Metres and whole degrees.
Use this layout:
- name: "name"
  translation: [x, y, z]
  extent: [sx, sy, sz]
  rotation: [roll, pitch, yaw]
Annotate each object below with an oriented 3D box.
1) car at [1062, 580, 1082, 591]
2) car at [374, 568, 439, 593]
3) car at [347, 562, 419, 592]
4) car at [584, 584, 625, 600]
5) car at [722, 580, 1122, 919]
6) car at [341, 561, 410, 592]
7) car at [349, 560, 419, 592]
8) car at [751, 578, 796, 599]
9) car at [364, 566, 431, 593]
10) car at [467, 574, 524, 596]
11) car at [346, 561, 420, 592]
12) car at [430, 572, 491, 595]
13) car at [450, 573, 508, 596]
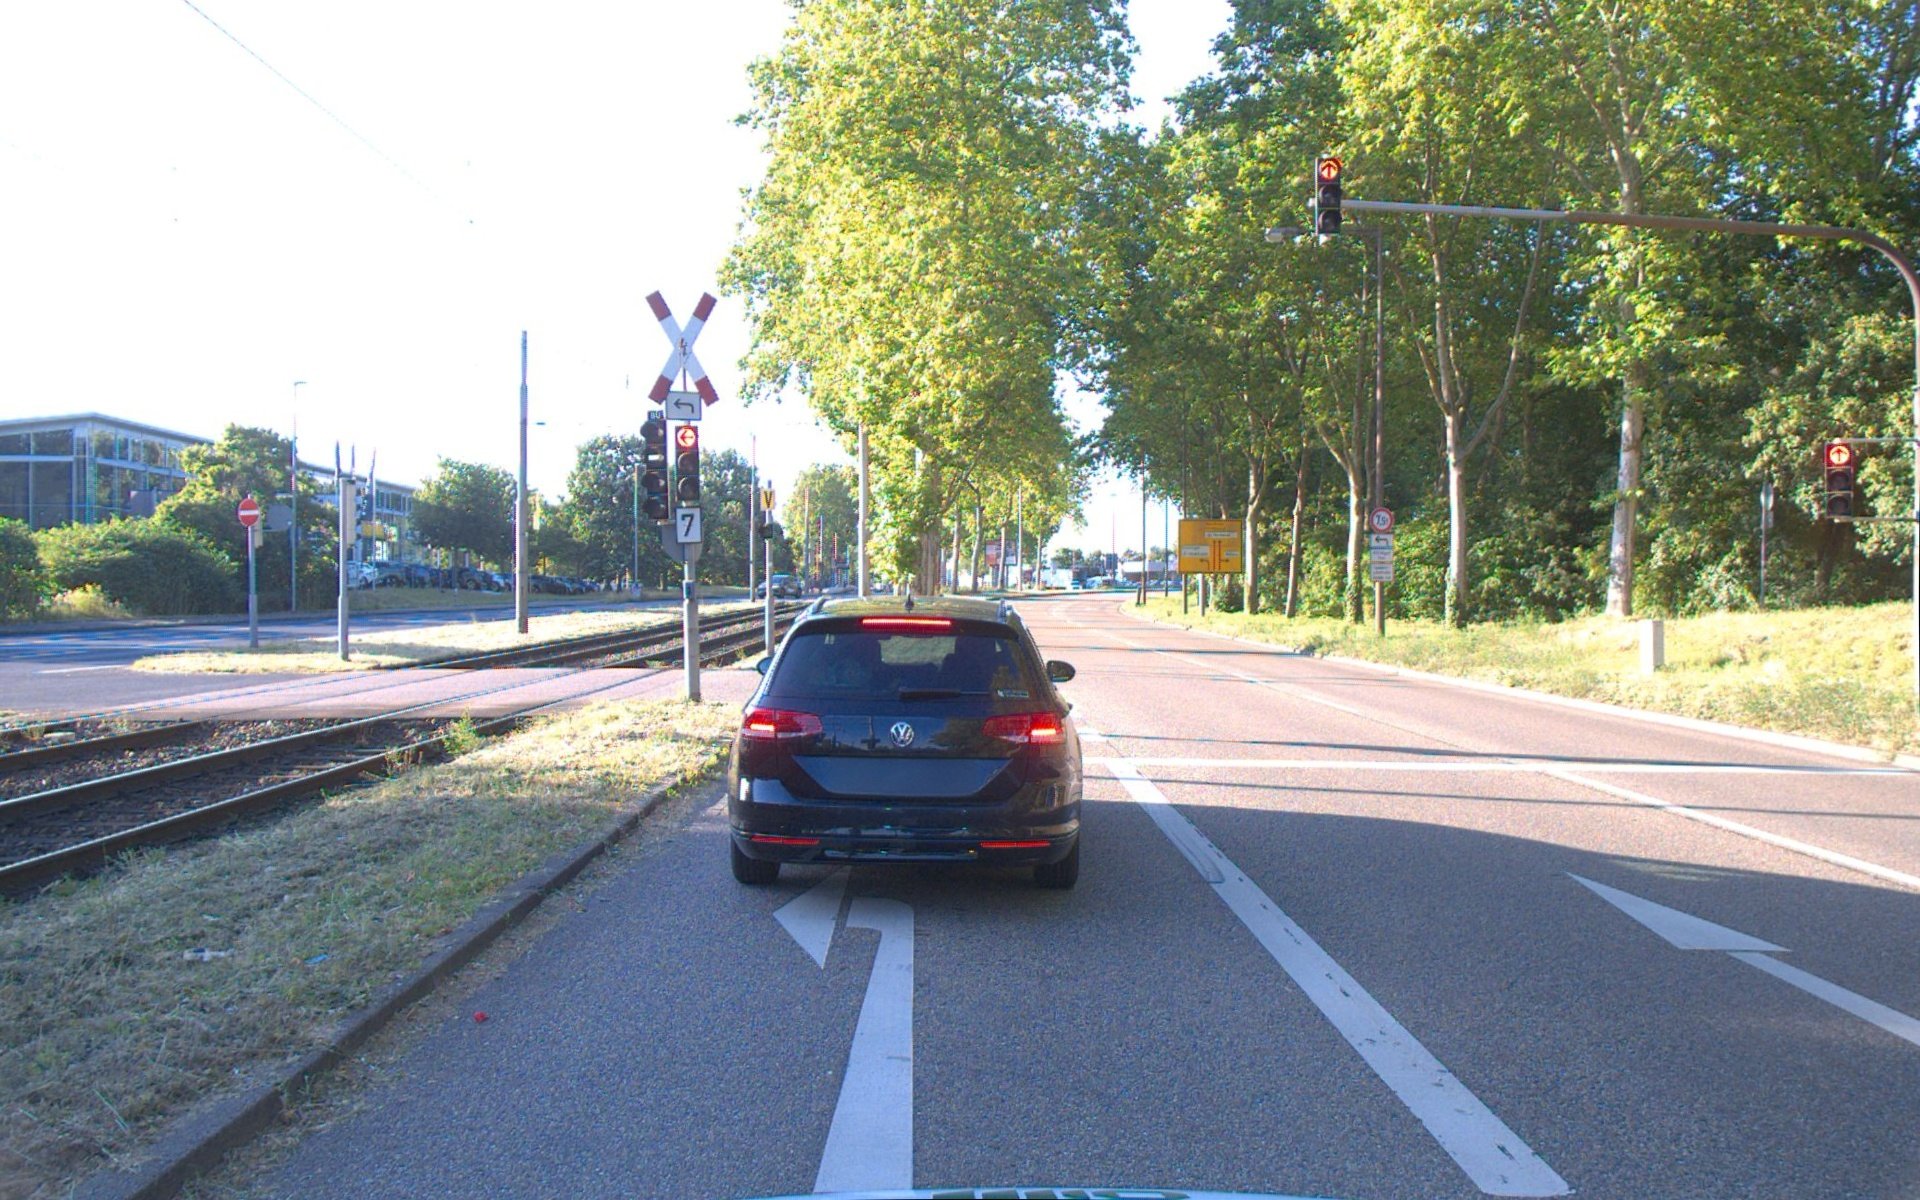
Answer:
- name: "car"
  translation: [15.018, -1.926, 222.550]
  extent: [1.827, 1.507, 4.084]
  rotation: [1, 0, -8]
- name: "car"
  translation: [-35.940, -1.275, 107.365]
  extent: [3.931, 1.583, 1.732]
  rotation: [1, 0, -22]
- name: "car"
  translation: [-34.058, -1.348, 97.615]
  extent: [3.931, 1.734, 1.732]
  rotation: [1, 0, -22]
- name: "car"
  translation: [-36.569, -0.859, 170.088]
  extent: [3.909, 1.583, 1.742]
  rotation: [1, 0, -5]
- name: "car"
  translation: [-0.209, 0.661, 9.176]
  extent: [1.759, 1.490, 3.582]
  rotation: [1, 0, -1]
- name: "car"
  translation: [-35.927, -1.455, 101.671]
  extent: [3.931, 1.848, 1.732]
  rotation: [1, 0, -22]
- name: "car"
  translation: [-34.815, -1.418, 99.937]
  extent: [3.931, 1.848, 1.732]
  rotation: [1, 0, -22]
- name: "car"
  translation: [-13.860, -0.885, 123.341]
  extent: [1.823, 1.507, 4.174]
  rotation: [1, 1, 17]
- name: "car"
  translation: [-35.590, -1.293, 104.588]
  extent: [3.931, 1.583, 1.732]
  rotation: [1, 0, -22]
- name: "car"
  translation: [-35.703, -1.153, 127.126]
  extent: [3.910, 1.649, 1.741]
  rotation: [1, 0, -6]
- name: "car"
  translation: [-33.268, -1.332, 95.379]
  extent: [3.931, 1.734, 1.732]
  rotation: [1, 0, -22]
- name: "car"
  translation: [-36.218, -1.188, 119.978]
  extent: [3.911, 1.583, 1.741]
  rotation: [1, 0, -7]
- name: "car"
  translation: [-36.023, -1.184, 123.909]
  extent: [3.910, 1.649, 1.741]
  rotation: [1, 0, -6]
